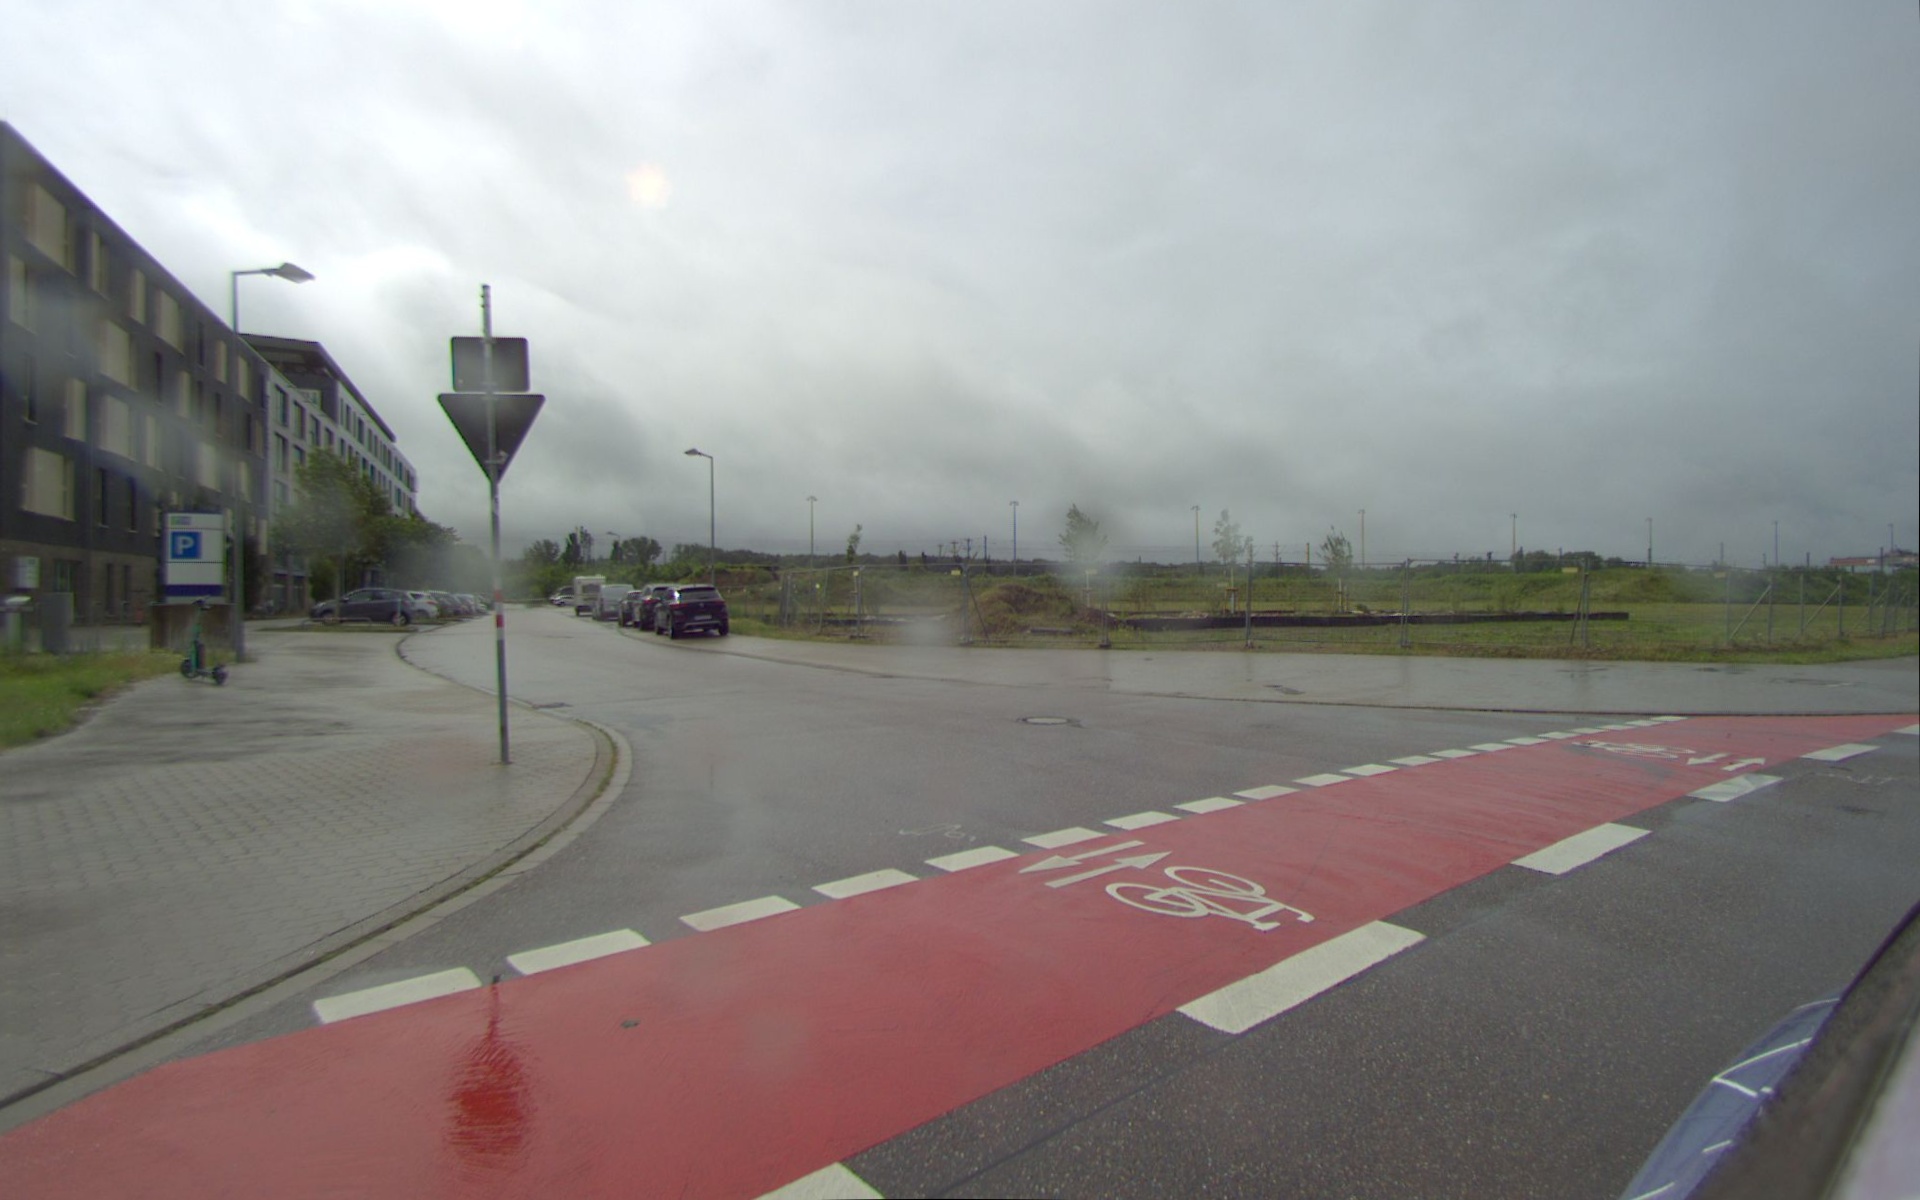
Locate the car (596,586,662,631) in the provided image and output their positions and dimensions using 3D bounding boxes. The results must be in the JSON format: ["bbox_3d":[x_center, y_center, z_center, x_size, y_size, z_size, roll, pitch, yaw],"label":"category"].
[{"bbox_3d":[-13.787,0.401,42.049,1.959,1.663,4.003,0,-3,-28],"label":"car"}]

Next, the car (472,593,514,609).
[{"bbox_3d":[-53.878,0.105,116.760,4.278,1.710,1.802,0,-3,-22],"label":"car"}]

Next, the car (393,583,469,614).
[{"bbox_3d":[-30.097,-0.096,57.693,3.763,1.636,1.788,0,-3,-25],"label":"car"}]

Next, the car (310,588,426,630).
[{"bbox_3d":[-23.212,0.343,39.826,3.763,1.548,1.788,0,-3,-25],"label":"car"}]

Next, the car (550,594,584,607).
[{"bbox_3d":[-52.209,0.033,134.401,3.920,1.750,2.002,0,0,-31],"label":"car"}]

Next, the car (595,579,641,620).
[{"bbox_3d":[-18.025,0.020,53.230,1.958,1.796,4.342,0,-5,-23],"label":"car"}]

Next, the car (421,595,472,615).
[{"bbox_3d":[-43.339,0.436,85.532,3.763,1.636,1.788,0,-3,-25],"label":"car"}]

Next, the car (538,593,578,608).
[{"bbox_3d":[-47.418,0.064,119.386,4.278,1.710,1.802,0,-3,-22],"label":"car"}]

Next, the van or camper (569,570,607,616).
[{"bbox_3d":[-29.948,-0.481,81.286,2.477,3.244,6.809,0,-3,-23],"label":"van or camper"}]

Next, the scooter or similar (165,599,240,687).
[{"bbox_3d":[-11.059,0.606,14.761,1.277,1.202,0.496,2,-1,37],"label":"scooter or similar"}]

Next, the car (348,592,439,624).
[{"bbox_3d":[-27.249,0.383,48.795,3.703,1.414,1.646,-1,-2,-24],"label":"car"}]

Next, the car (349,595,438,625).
[{"bbox_3d":[-28.474,0.492,50.973,3.763,1.414,1.788,0,-3,-25],"label":"car"}]

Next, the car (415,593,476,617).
[{"bbox_3d":[-36.185,0.360,71.261,3.763,1.636,1.550,0,-3,-25],"label":"car"}]

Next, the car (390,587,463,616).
[{"bbox_3d":[-31.859,0.085,60.556,3.763,1.636,1.788,0,-3,-25],"label":"car"}]

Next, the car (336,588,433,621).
[{"bbox_3d":[-26.303,0.210,46.416,3.729,1.414,1.770,0,-3,-25],"label":"car"}]

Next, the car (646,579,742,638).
[{"bbox_3d":[-8.324,0.234,31.444,1.960,1.638,4.005,-3,2,-28],"label":"car"}]

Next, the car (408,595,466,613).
[{"bbox_3d":[-39.366,0.298,76.313,3.823,1.313,1.554,0,-3,-25],"label":"car"}]

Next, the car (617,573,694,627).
[{"bbox_3d":[-11.198,0.048,37.033,1.959,1.750,4.003,0,-3,-28],"label":"car"}]
